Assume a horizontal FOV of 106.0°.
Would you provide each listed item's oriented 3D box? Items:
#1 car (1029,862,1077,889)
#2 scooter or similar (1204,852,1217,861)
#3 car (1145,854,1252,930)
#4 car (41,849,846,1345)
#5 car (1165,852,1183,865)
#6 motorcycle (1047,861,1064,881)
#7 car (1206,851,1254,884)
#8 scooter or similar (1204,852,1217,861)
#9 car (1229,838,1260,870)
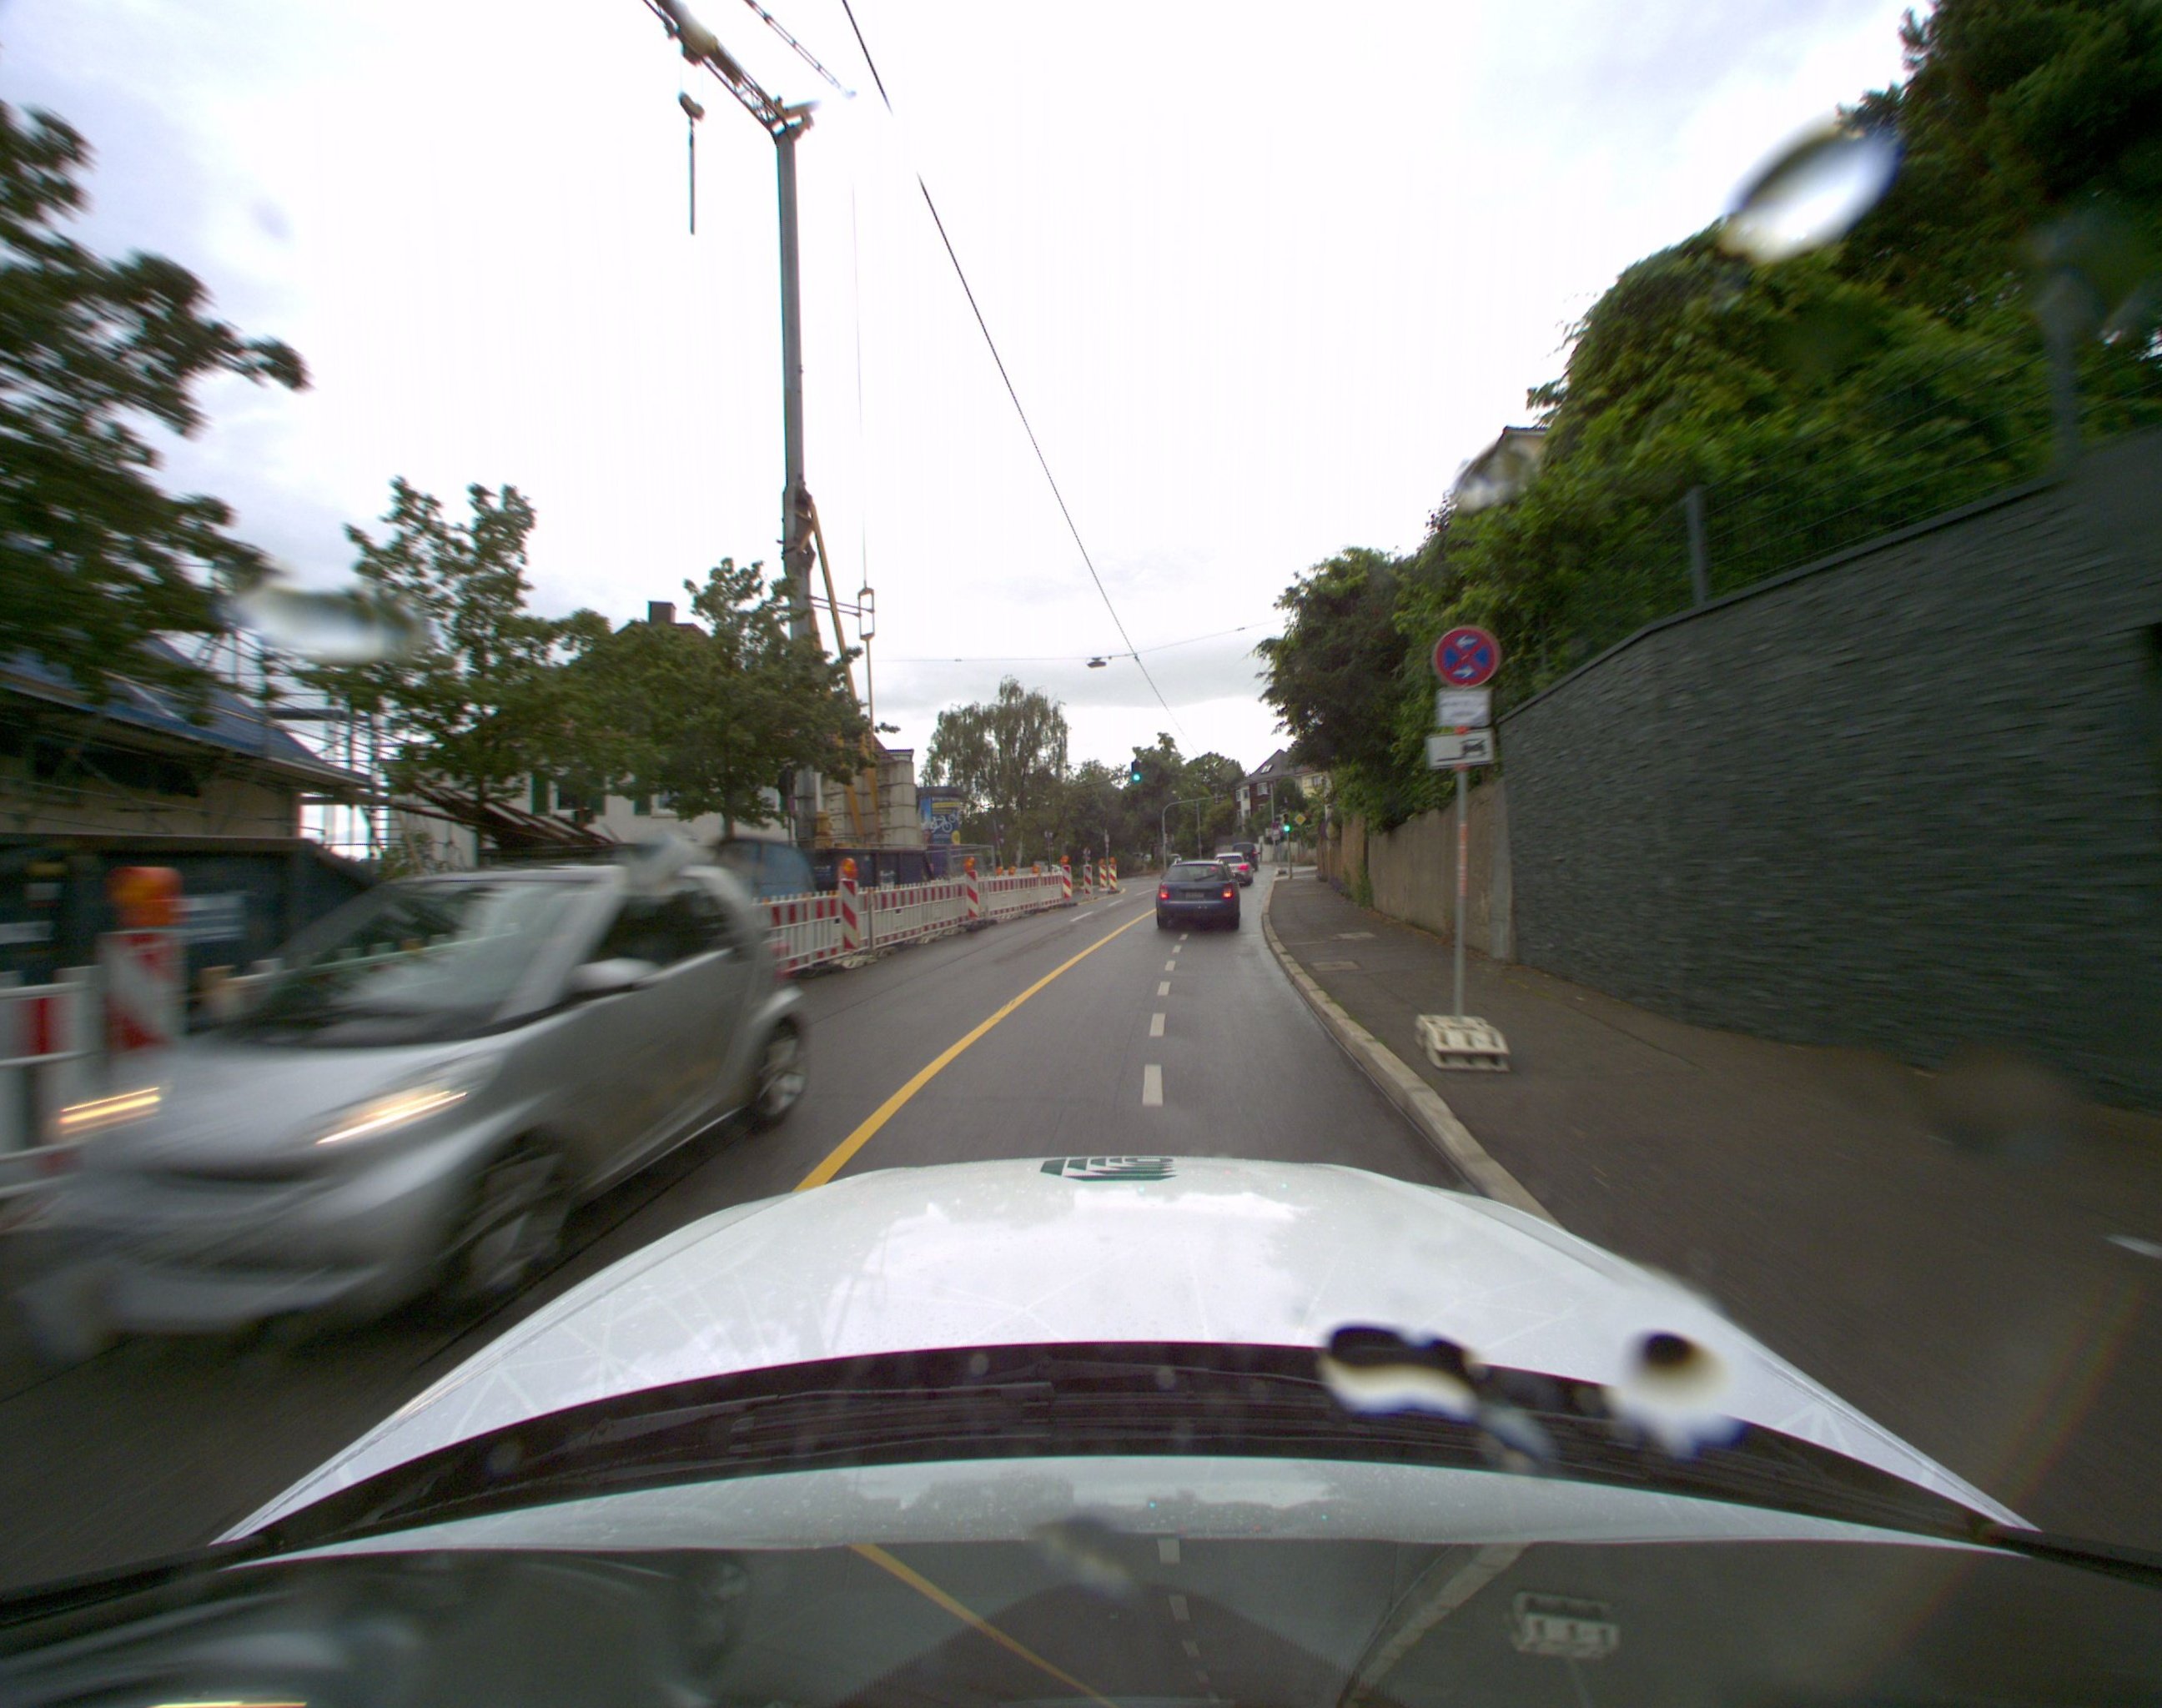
[{"bbox_3d":[-1.995,1.497,56.807,1.694,1.509,3.974,-5,-2,-29],"label":"car"},{"bbox_3d":[19.501,0.343,122.251,1.827,1.315,0.600,2,-3,1],"label":"scooter or similar"},{"bbox_3d":[2.737,0.768,18.238,1.763,1.439,4.018,-1,1,17],"label":"car"},{"bbox_3d":[-2.532,0.762,4.076,1.447,1.526,2.931,-1,0,10],"label":"car"},{"bbox_3d":[11.163,0.533,98.047,1.667,1.426,4.001,-4,0,2],"label":"car"},{"bbox_3d":[-1.549,1.036,49.963,0.587,1.131,1.849,-4,-1,11],"label":"motorcycle"},{"bbox_3d":[6.761,0.618,36.577,1.895,1.388,4.365,-1,-1,13],"label":"car"},{"bbox_3d":[19.621,0.352,123.342,1.827,1.315,0.600,2,-3,1],"label":"scooter or similar"},{"bbox_3d":[10.670,-0.027,53.039,1.718,1.894,4.070,-4,0,13],"label":"car"}]
